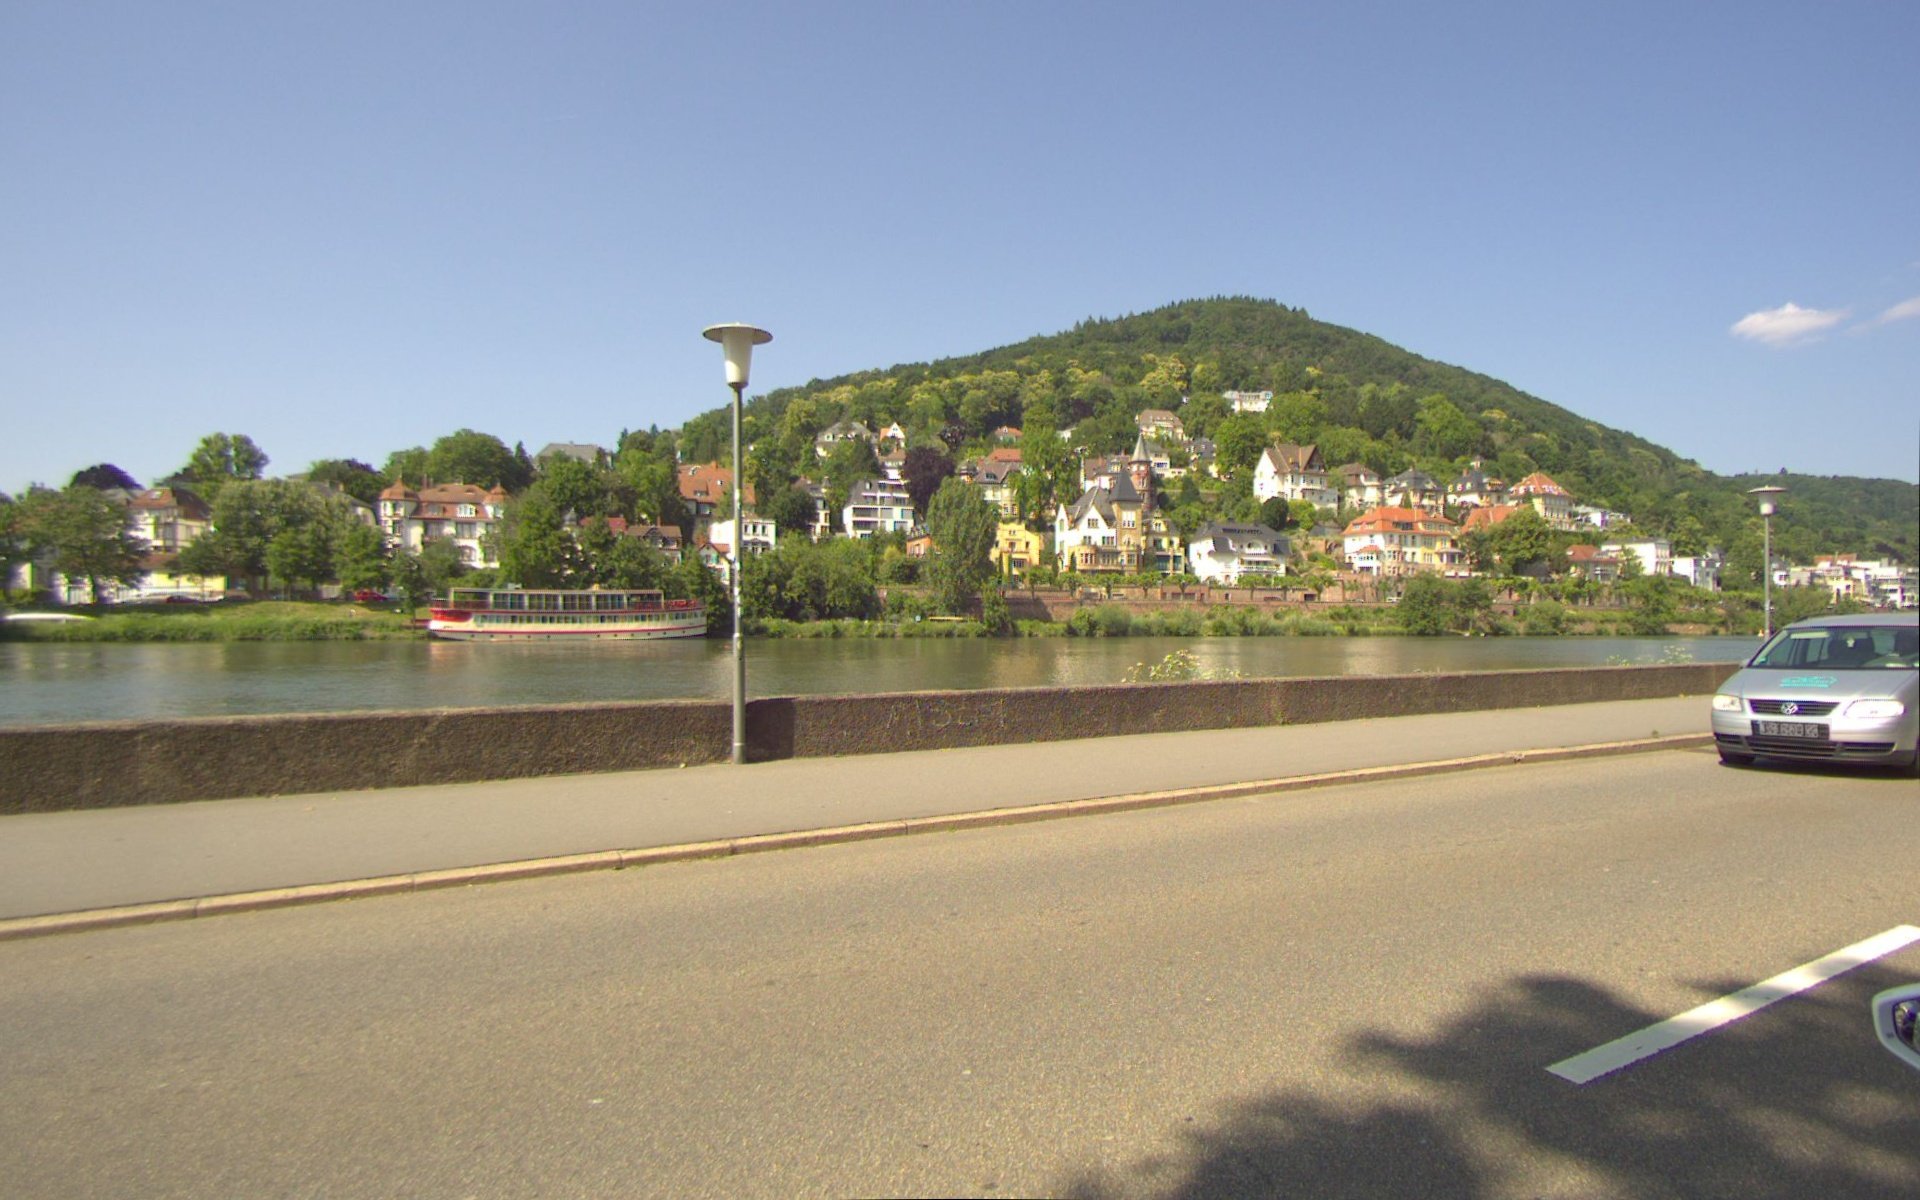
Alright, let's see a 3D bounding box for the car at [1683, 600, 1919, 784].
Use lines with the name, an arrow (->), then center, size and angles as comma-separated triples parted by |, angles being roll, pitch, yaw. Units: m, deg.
car -> 9.877, 0.891, 10.975 | 4.129, 1.671, 1.723 | 1, -2, -31
